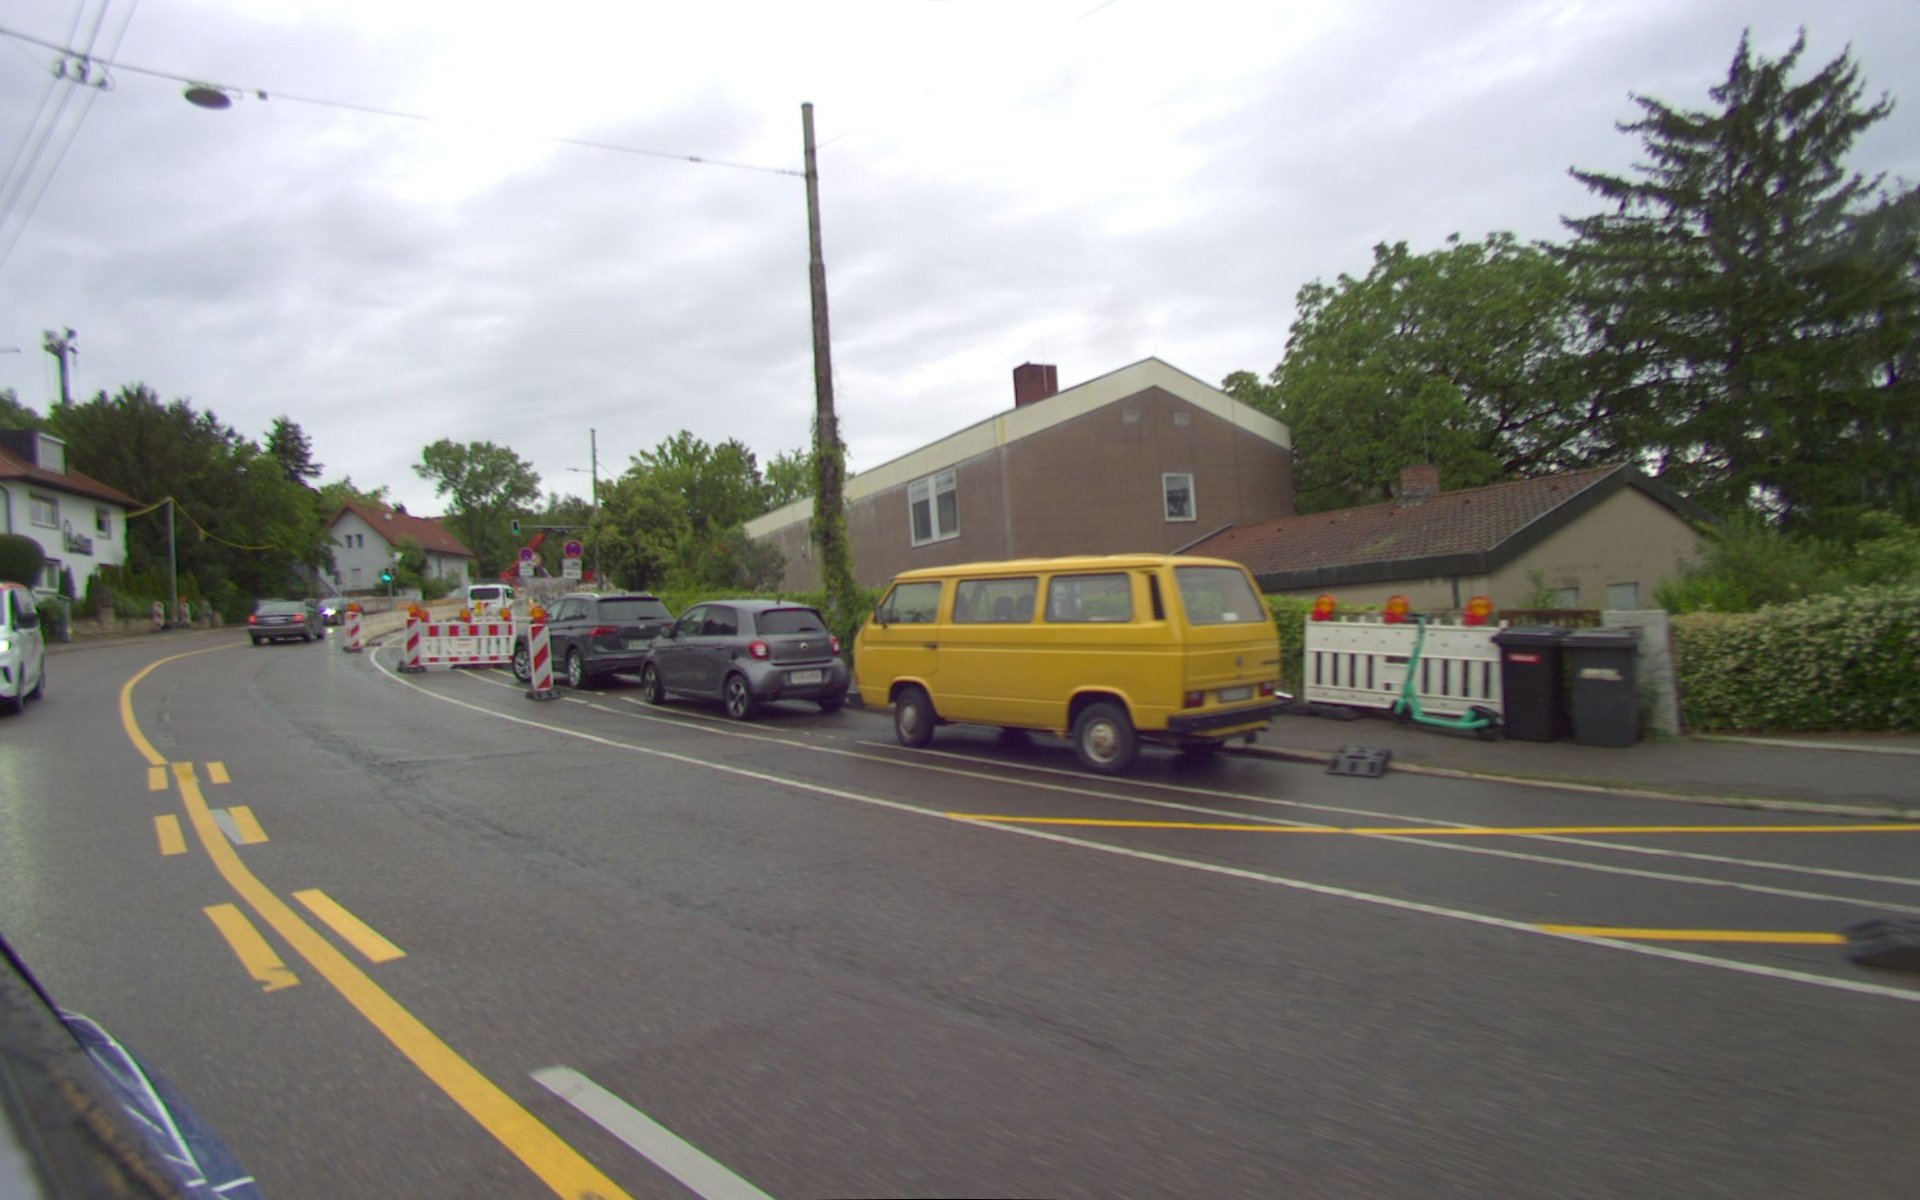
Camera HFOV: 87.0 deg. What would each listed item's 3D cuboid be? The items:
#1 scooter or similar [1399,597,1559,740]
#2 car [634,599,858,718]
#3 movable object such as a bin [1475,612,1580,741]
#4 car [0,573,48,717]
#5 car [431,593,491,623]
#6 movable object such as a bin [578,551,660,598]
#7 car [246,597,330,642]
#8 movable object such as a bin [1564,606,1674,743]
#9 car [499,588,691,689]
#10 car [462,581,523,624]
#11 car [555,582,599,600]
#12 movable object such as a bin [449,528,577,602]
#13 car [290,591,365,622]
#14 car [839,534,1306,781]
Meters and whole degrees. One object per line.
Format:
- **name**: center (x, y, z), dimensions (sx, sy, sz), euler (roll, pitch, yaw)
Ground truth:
- **scooter or similar**: center (5.011, 0.618, 9.825), dimensions (0.393, 1.269, 1.321), euler (-5, 3, -35)
- **car**: center (-3.131, 0.737, 14.421), dimensions (1.555, 1.465, 3.468), euler (-1, 0, -43)
- **movable object such as a bin**: center (5.494, 0.705, 9.785), dimensions (0.712, 1.148, 0.849), euler (0, 1, 43)
- **car**: center (-15.049, 0.625, 14.995), dimensions (2.011, 1.953, 4.523), euler (-1, 0, -39)
- **car**: center (-34.718, 0.499, 70.541), dimensions (1.991, 1.954, 3.994), euler (-1, 1, 5)
- **movable object such as a bin**: center (-38.993, -2.901, 115.809), dimensions (8.234, 5.092, 3.315), euler (-1, 1, 10)
- **car**: center (-24.374, 0.692, 36.868), dimensions (1.765, 1.501, 4.686), euler (-2, 0, -24)
- **movable object such as a bin**: center (6.043, 0.646, 9.276), dimensions (0.712, 1.148, 0.849), euler (0, 1, 43)
- **car**: center (-6.832, 0.644, 18.659), dimensions (1.699, 1.620, 4.467), euler (-2, 1, -43)
- **car**: center (-21.285, 0.108, 46.215), dimensions (1.780, 1.814, 4.476), euler (-2, 0, -15)
- **car**: center (-32.943, -0.796, 87.185), dimensions (1.963, 1.470, 4.513), euler (-1, 2, 2)
- **movable object such as a bin**: center (-41.967, -3.284, 95.498), dimensions (8.927, 6.601, 7.040), euler (-1, 1, -1)
- **car**: center (-32.858, 0.290, 52.719), dimensions (1.957, 1.447, 4.527), euler (-2, 2, -13)
- **car**: center (0.904, 0.481, 10.219), dimensions (1.782, 1.942, 4.580), euler (0, -1, -45)
